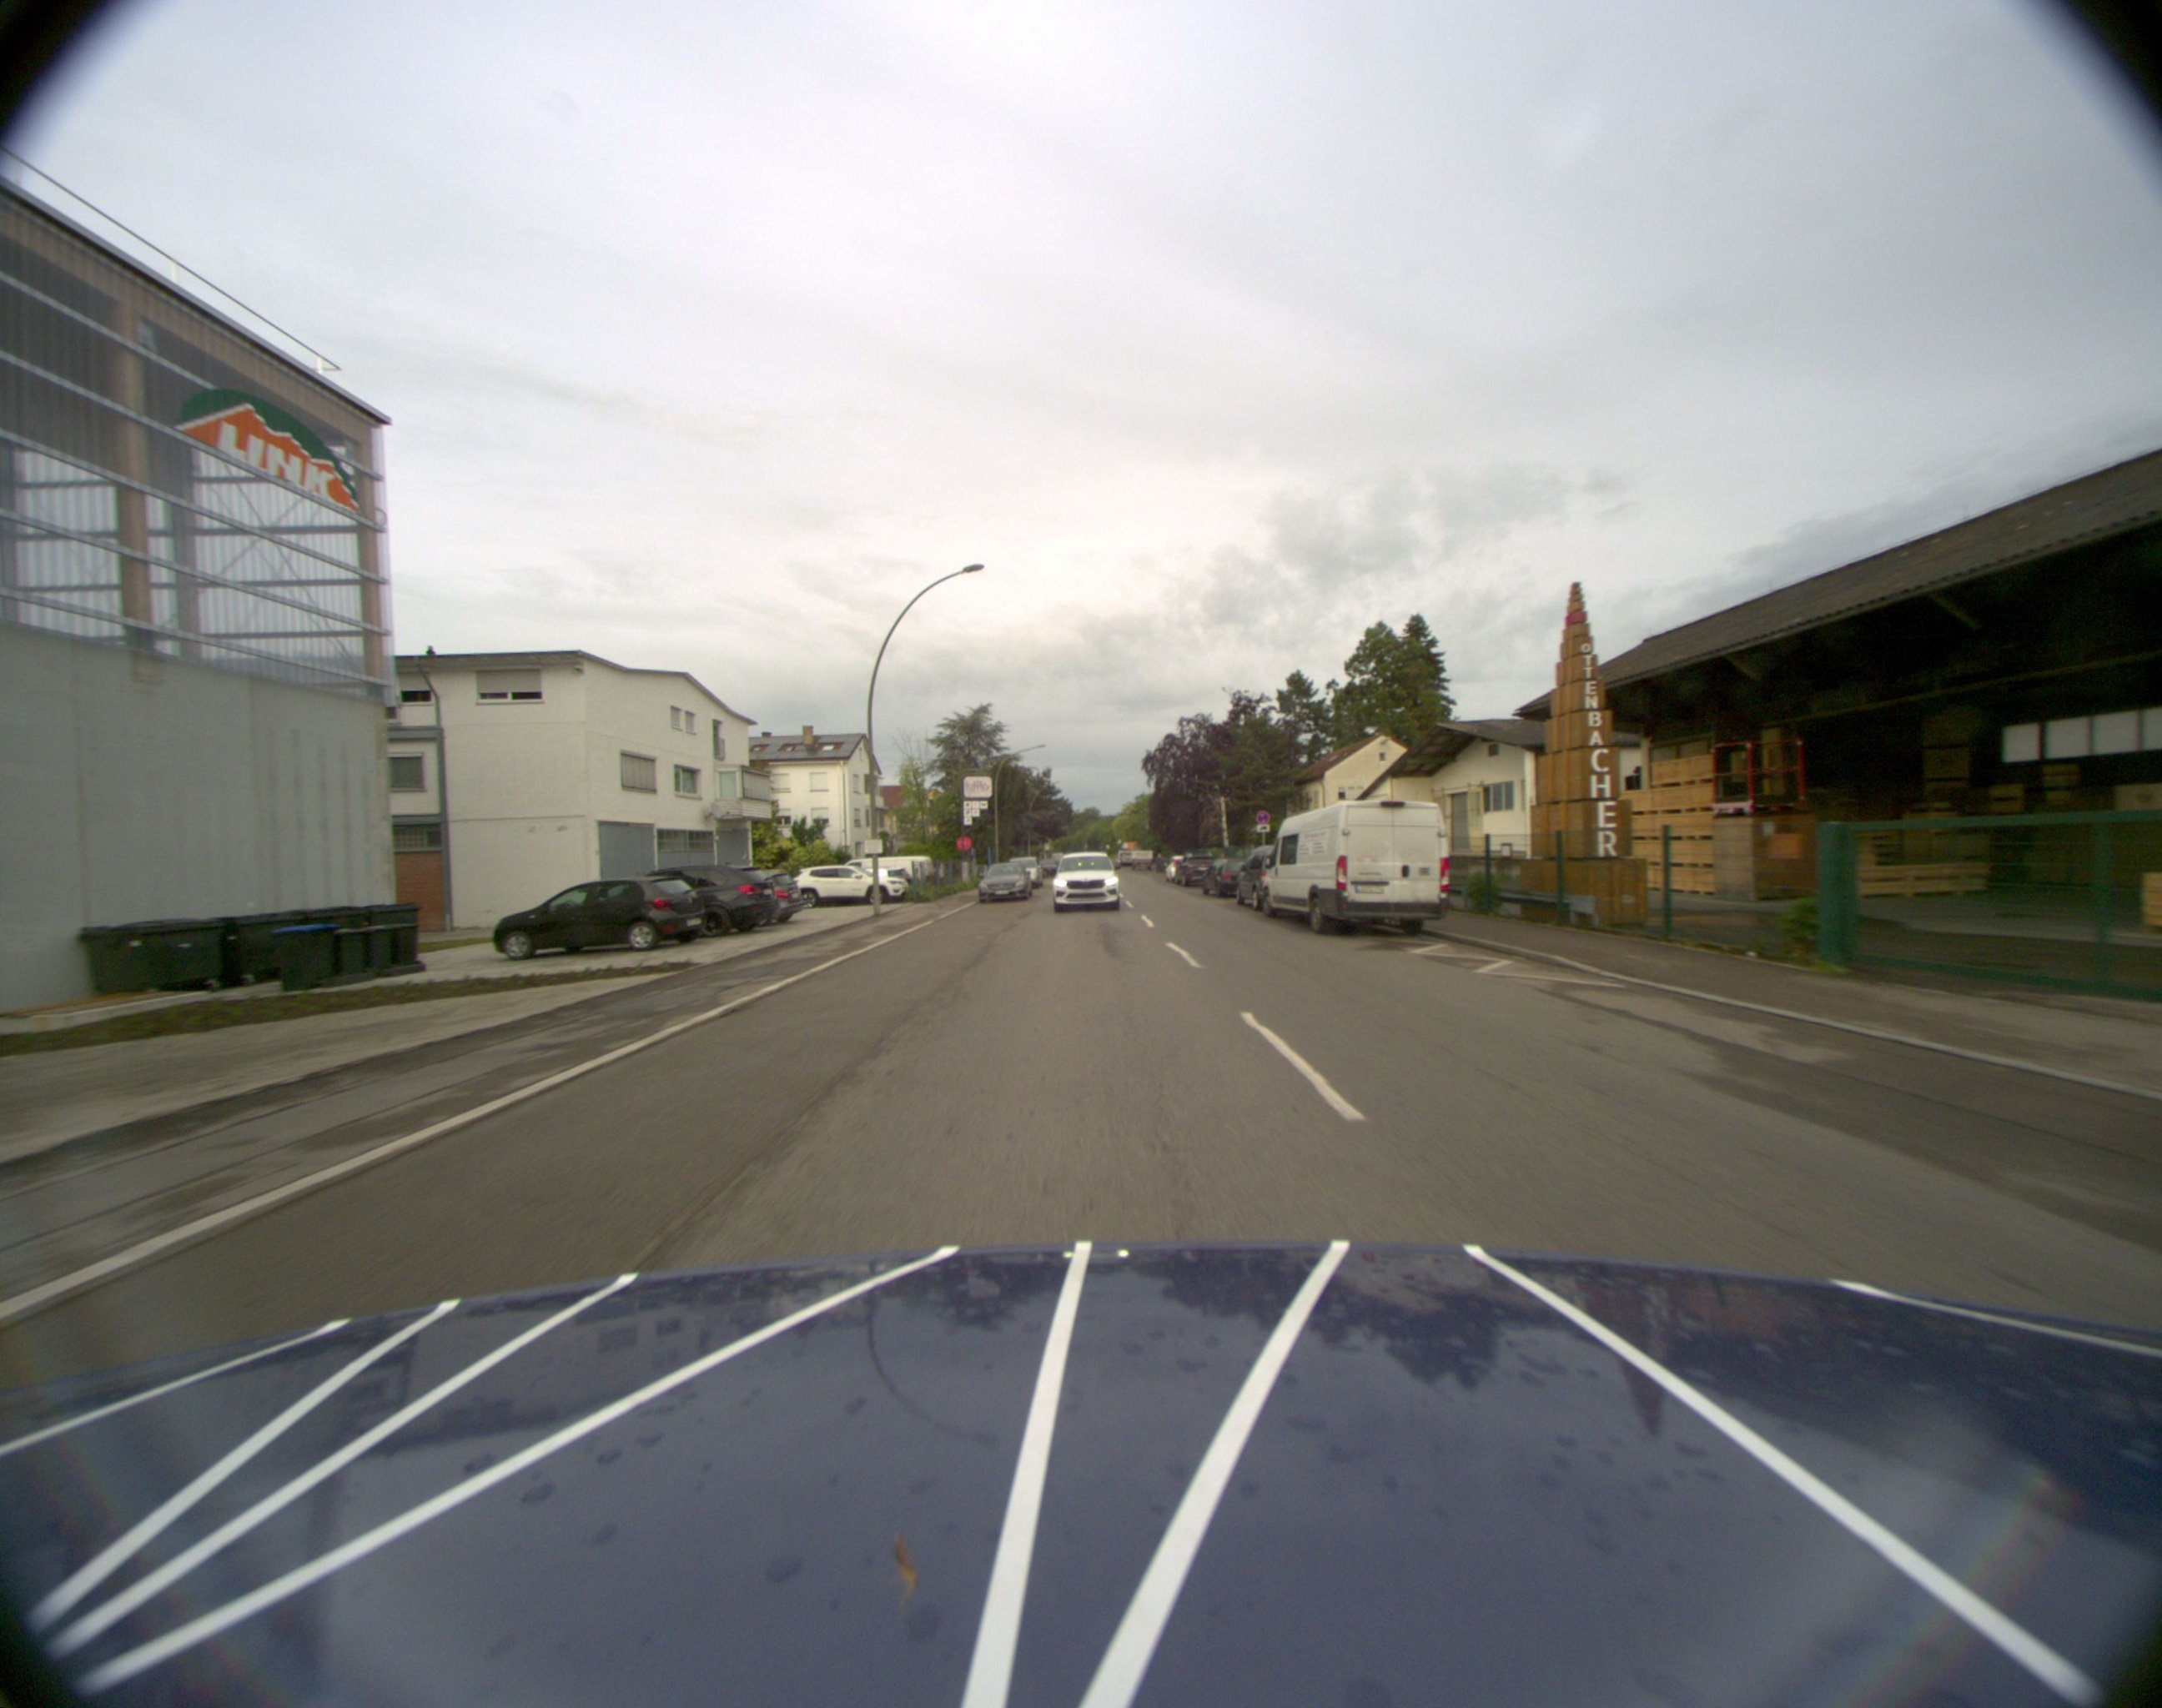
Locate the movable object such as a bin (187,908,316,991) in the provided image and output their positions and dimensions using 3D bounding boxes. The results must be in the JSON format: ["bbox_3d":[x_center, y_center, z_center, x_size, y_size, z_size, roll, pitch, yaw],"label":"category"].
[{"bbox_3d":[-15.339,1.738,14.096,0.840,1.332,1.321,-3,1,1],"label":"movable object such as a bin"}]

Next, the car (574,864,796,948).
[{"bbox_3d":[-9.448,1.203,18.419,4.238,1.665,1.980,-3,1,-2],"label":"car"}]

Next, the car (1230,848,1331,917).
[{"bbox_3d":[5.708,0.740,22.300,1.774,1.758,4.446,2,1,1],"label":"car"}]

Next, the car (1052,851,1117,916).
[{"bbox_3d":[0.035,0.797,22.698,1.692,1.651,3.999,-3,1,-2],"label":"car"}]

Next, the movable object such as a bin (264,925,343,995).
[{"bbox_3d":[-13.001,1.759,12.720,0.576,1.049,0.644,-3,1,1],"label":"movable object such as a bin"}]

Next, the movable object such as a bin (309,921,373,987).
[{"bbox_3d":[-12.972,1.739,13.324,0.514,1.049,0.543,-3,1,1],"label":"movable object such as a bin"}]

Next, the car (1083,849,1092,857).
[{"bbox_3d":[1.439,-0.129,165.378,1.898,1.678,4.230,-1,1,1],"label":"car"}]

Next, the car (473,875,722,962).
[{"bbox_3d":[-9.981,1.305,15.912,3.976,1.481,1.833,-3,0,1],"label":"car"}]

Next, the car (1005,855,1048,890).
[{"bbox_3d":[-2.809,0.918,40.162,1.743,1.612,4.373,-3,1,2],"label":"car"}]

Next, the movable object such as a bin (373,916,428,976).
[{"bbox_3d":[-12.936,1.743,14.449,0.518,1.049,0.505,-3,1,1],"label":"movable object such as a bin"}]

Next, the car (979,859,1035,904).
[{"bbox_3d":[-2.806,1.008,29.844,1.743,1.458,4.545,-3,1,-1],"label":"car"}]

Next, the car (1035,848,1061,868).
[{"bbox_3d":[-2.731,0.312,64.325,1.744,1.424,4.648,-4,1,2],"label":"car"}]

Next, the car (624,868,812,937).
[{"bbox_3d":[-10.027,1.320,21.222,4.254,1.527,1.811,-4,1,0],"label":"car"}]

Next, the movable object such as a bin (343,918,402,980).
[{"bbox_3d":[-12.954,1.732,13.905,0.497,1.049,0.552,-3,1,1],"label":"movable object such as a bin"}]

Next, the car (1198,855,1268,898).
[{"bbox_3d":[5.646,0.794,28.742,1.665,1.440,4.316,0,1,-1],"label":"car"}]

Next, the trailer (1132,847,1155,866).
[{"bbox_3d":[6.125,0.250,74.830,1.934,1.755,4.548,-3,0,1],"label":"trailer"}]

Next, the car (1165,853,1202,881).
[{"bbox_3d":[5.767,0.706,43.002,1.620,1.500,3.660,-1,1,1],"label":"car"}]

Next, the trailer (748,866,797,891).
[{"bbox_3d":[-21.209,1.649,52.391,1.644,1.456,4.094,-3,1,1],"label":"trailer"}]

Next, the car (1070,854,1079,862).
[{"bbox_3d":[-1.296,0.742,153.367,1.743,1.458,4.545,-3,1,-1],"label":"car"}]

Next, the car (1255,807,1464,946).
[{"bbox_3d":[5.630,0.378,16.587,2.163,2.413,6.459,1,0,0],"label":"car"}]

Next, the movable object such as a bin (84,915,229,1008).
[{"bbox_3d":[-15.420,1.770,12.716,0.840,1.332,1.213,-3,1,1],"label":"movable object such as a bin"}]

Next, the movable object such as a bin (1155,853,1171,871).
[{"bbox_3d":[6.418,0.596,59.555,1.103,1.303,1.425,-3,1,0],"label":"movable object such as a bin"}]

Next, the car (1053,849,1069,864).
[{"bbox_3d":[-2.622,0.332,102.610,1.736,1.817,5.553,-4,1,1],"label":"car"}]

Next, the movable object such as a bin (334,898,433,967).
[{"bbox_3d":[-15.364,1.703,16.787,0.840,1.332,1.330,-3,1,1],"label":"movable object such as a bin"}]

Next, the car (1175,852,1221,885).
[{"bbox_3d":[5.774,0.677,37.832,1.665,1.575,3.915,0,1,-1],"label":"car"}]

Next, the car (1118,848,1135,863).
[{"bbox_3d":[6.005,0.188,100.908,1.898,1.881,5.209,-1,1,1],"label":"car"}]

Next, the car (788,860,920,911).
[{"bbox_3d":[-8.678,1.180,29.312,4.457,1.615,1.893,-3,1,-1],"label":"car"}]

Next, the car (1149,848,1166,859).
[{"bbox_3d":[11.298,-0.078,112.163,1.833,1.432,4.787,-3,1,-1],"label":"car"}]

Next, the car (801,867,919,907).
[{"bbox_3d":[-9.224,1.359,31.925,4.331,1.371,1.850,-3,1,-1],"label":"car"}]

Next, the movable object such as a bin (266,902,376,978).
[{"bbox_3d":[-15.385,1.718,15.433,0.840,1.332,1.285,-3,1,1],"label":"movable object such as a bin"}]

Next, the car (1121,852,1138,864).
[{"bbox_3d":[6.057,0.473,95.473,1.821,1.419,4.980,-1,1,1],"label":"car"}]

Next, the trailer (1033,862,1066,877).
[{"bbox_3d":[-2.329,1.145,58.452,2.179,0.892,6.636,-3,0,0],"label":"trailer"}]

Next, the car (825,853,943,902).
[{"bbox_3d":[-8.885,1.041,34.581,4.743,1.875,2.000,-3,1,0],"label":"car"}]
